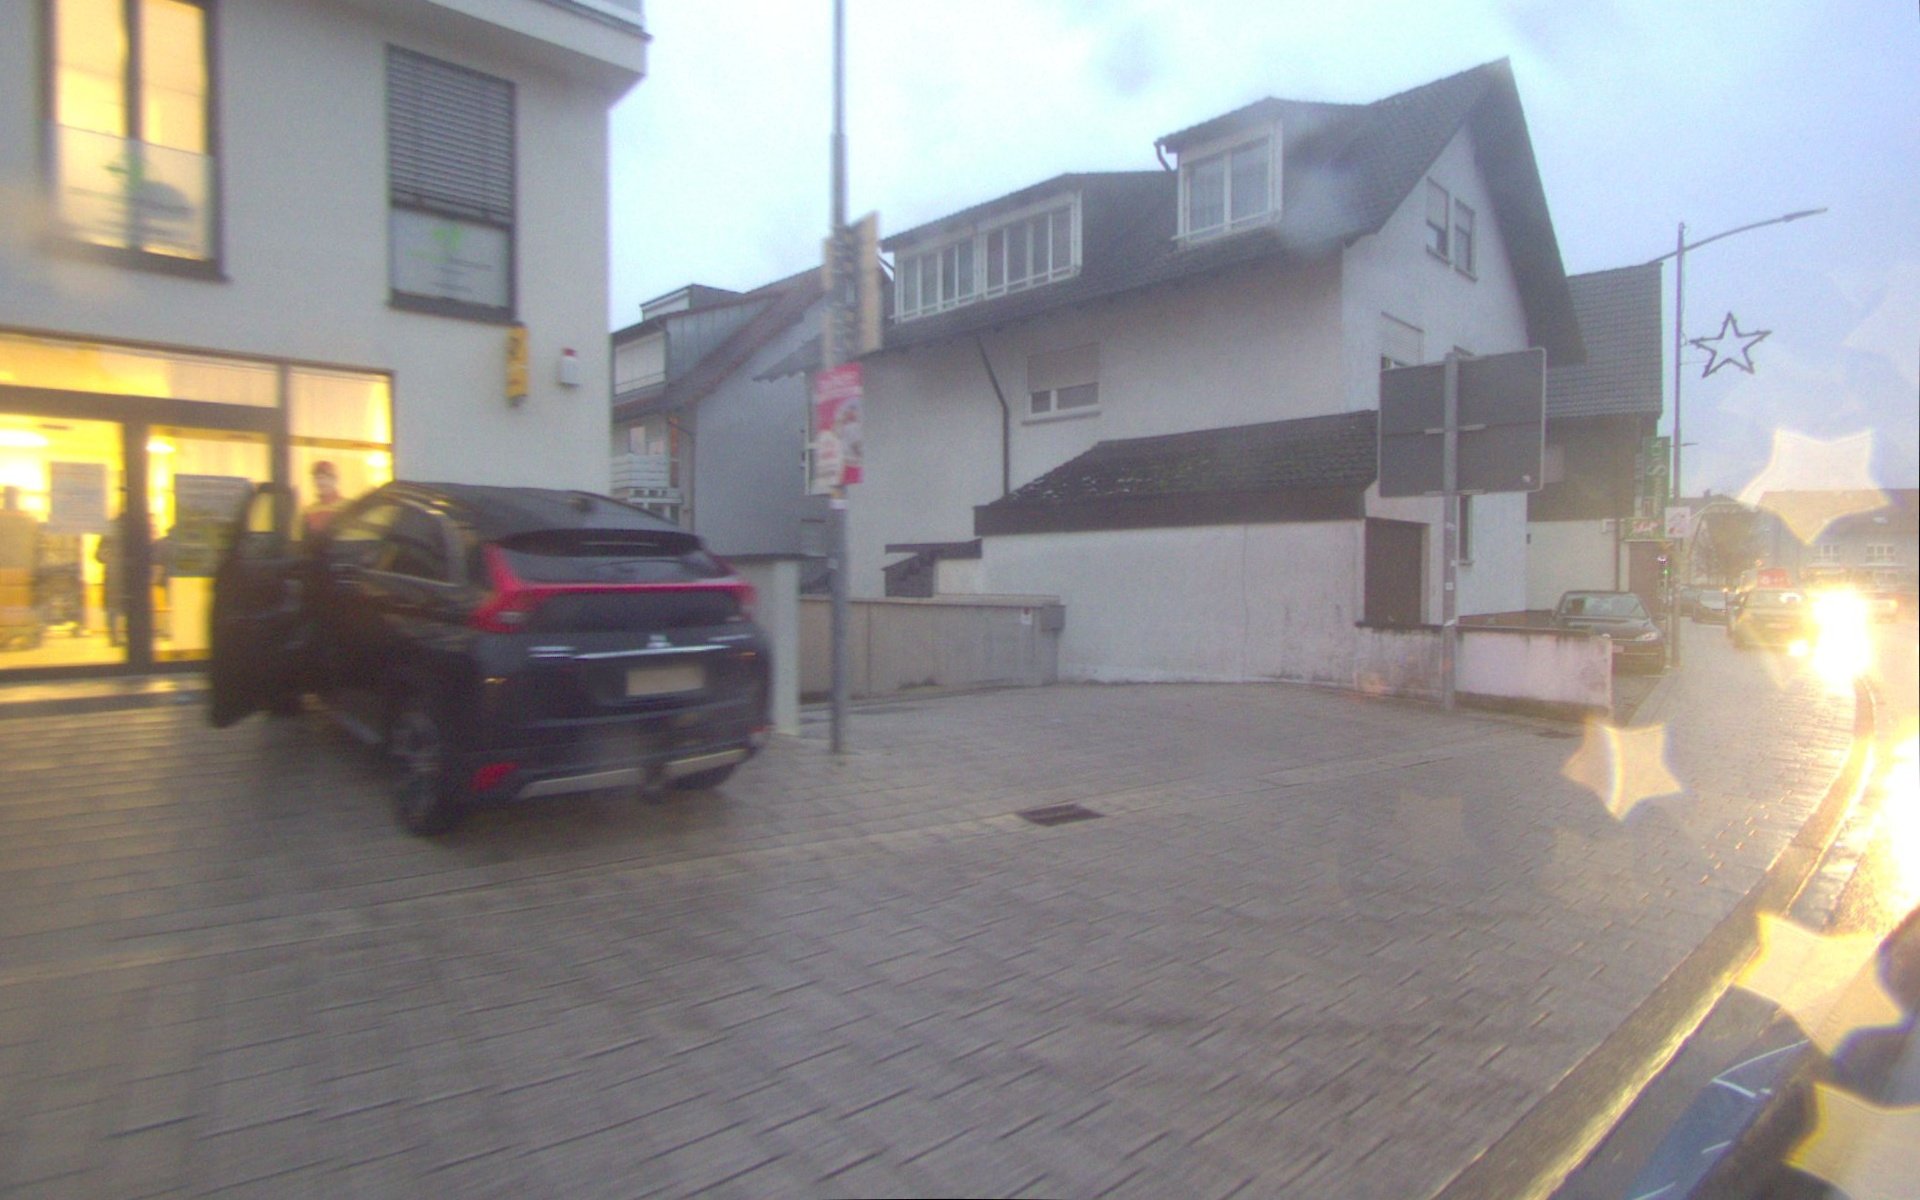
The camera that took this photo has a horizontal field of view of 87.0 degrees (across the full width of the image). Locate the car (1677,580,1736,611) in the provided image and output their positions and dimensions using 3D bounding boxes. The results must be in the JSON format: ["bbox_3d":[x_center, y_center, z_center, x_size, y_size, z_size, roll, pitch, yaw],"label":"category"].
[{"bbox_3d":[40.770,-0.285,55.365,1.946,1.552,4.957,-2,0,30],"label":"car"}]

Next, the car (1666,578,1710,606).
[{"bbox_3d":[44.062,-0.519,61.309,1.656,1.595,4.450,1,2,30],"label":"car"}]

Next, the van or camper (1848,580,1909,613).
[{"bbox_3d":[41.444,-0.181,45.745,1.557,1.372,3.379,2,2,35],"label":"van or camper"}]

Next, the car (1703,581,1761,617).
[{"bbox_3d":[35.271,-0.099,46.340,1.645,1.472,4.190,3,3,32],"label":"car"}]

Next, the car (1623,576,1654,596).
[{"bbox_3d":[57.401,-1.186,85.676,1.797,1.583,4.262,1,2,29],"label":"car"}]

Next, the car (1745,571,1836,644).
[{"bbox_3d":[23.232,0.153,28.343,1.768,1.803,3.943,5,4,39],"label":"car"}]

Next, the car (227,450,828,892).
[{"bbox_3d":[-2.883,0.089,6.180,4.179,1.657,1.776,11,7,42],"label":"car"}]

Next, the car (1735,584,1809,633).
[{"bbox_3d":[26.486,0.237,33.073,1.641,1.433,2.693,4,3,35],"label":"car"}]

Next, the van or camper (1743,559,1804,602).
[{"bbox_3d":[54.659,-1.327,68.131,2.229,2.702,6.485,1,1,30],"label":"van or camper"}]

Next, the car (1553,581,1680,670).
[{"bbox_3d":[12.343,0.394,19.236,1.756,1.410,3.873,3,3,30],"label":"car"}]

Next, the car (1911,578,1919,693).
[{"bbox_3d":[14.097,0.563,13.360,1.899,1.660,4.502,2,3,39],"label":"car"}]
